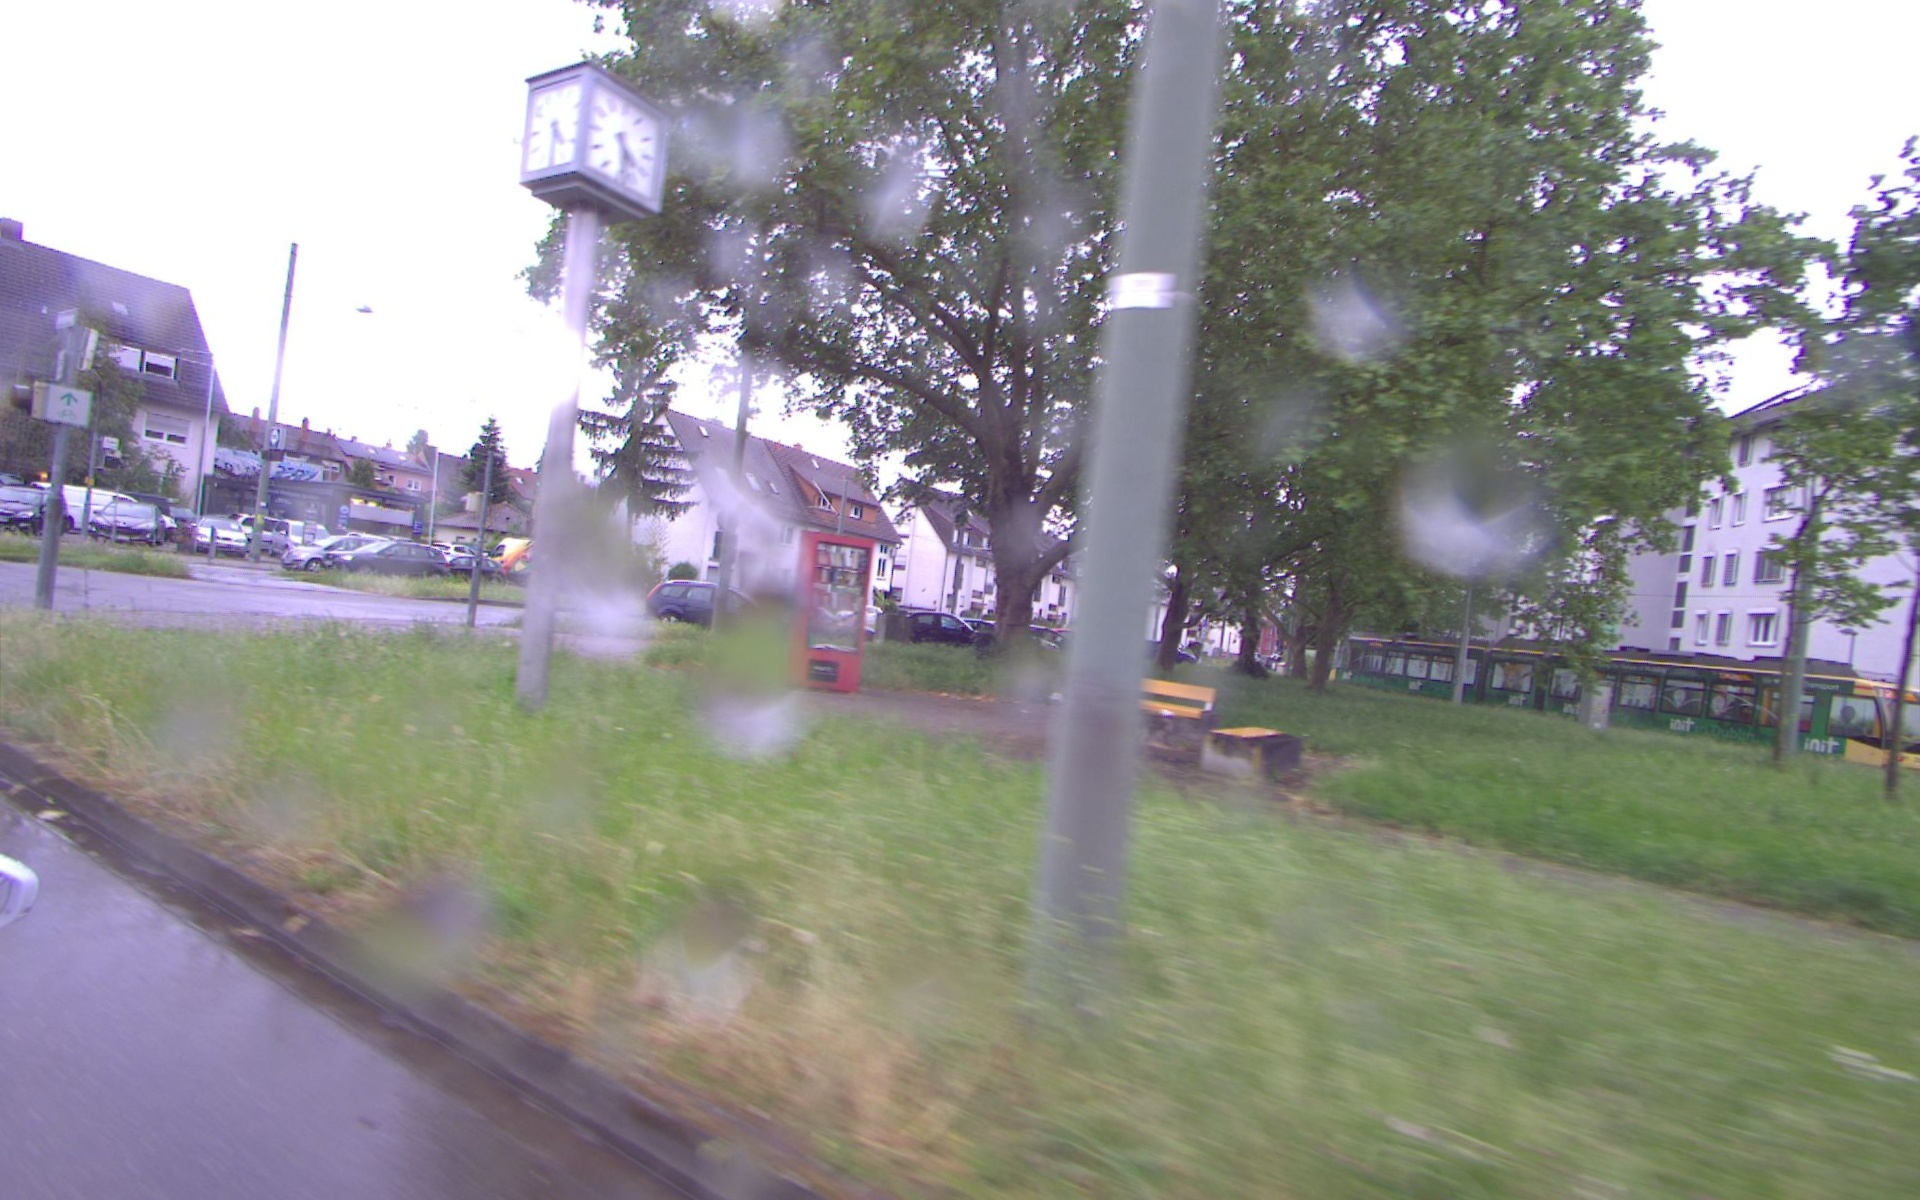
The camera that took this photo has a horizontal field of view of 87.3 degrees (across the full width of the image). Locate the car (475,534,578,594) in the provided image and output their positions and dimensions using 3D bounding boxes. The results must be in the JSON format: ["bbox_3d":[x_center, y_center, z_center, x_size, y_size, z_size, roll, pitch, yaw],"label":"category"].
[{"bbox_3d":[-22.733,-1.880,52.688,5.063,2.433,2.150,7,-2,31],"label":"car"}]

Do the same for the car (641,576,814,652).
[{"bbox_3d":[-6.215,0.380,27.202,4.099,1.494,1.804,7,0,1],"label":"car"}]

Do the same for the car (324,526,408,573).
[{"bbox_3d":[-26.301,-2.237,44.507,3.560,1.591,1.720,7,-2,35],"label":"car"}]

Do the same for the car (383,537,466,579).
[{"bbox_3d":[-24.874,-1.958,46.708,3.781,1.412,1.720,7,-3,35],"label":"car"}]

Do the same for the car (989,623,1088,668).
[{"bbox_3d":[3.350,1.941,43.593,4.046,1.498,1.866,6,-1,-1],"label":"car"}]

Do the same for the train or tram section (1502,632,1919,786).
[{"bbox_3d":[25.973,3.405,35.636,2.672,3.631,14.706,8,-1,-12],"label":"train or tram section"}]

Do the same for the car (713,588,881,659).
[{"bbox_3d":[-4.767,0.688,29.809,4.463,1.494,1.805,7,0,5],"label":"car"}]

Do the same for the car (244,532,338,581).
[{"bbox_3d":[-27.925,-1.816,41.944,3.809,1.598,1.803,7,0,33],"label":"car"}]

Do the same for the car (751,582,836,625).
[{"bbox_3d":[-8.877,0.201,53.905,1.965,1.623,4.572,7,-3,28],"label":"car"}]

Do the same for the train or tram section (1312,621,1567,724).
[{"bbox_3d":[22.961,3.257,50.041,2.672,3.631,14.706,8,-1,-12],"label":"train or tram section"}]

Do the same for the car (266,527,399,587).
[{"bbox_3d":[-22.921,-1.537,36.886,1.693,1.521,3.642,7,-3,30],"label":"car"}]

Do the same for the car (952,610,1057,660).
[{"bbox_3d":[1.759,1.429,40.702,3.929,1.571,1.961,6,-2,-5],"label":"car"}]

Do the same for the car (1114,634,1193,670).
[{"bbox_3d":[10.887,2.935,56.818,3.926,1.502,1.999,7,1,0],"label":"car"}]

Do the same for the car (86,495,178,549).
[{"bbox_3d":[-30.294,-2.799,36.944,1.815,1.521,4.028,9,-3,-30],"label":"car"}]

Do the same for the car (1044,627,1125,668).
[{"bbox_3d":[5.688,2.155,46.289,3.530,1.498,1.638,5,-1,5],"label":"car"}]

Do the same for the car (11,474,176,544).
[{"bbox_3d":[-33.972,-3.529,39.555,1.968,2.038,4.437,6,-1,33],"label":"car"}]

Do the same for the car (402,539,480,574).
[{"bbox_3d":[-31.125,-2.569,60.491,1.759,1.599,4.451,6,-1,10],"label":"car"}]

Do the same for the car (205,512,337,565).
[{"bbox_3d":[-30.601,-2.707,44.823,1.732,1.708,4.437,6,-1,33],"label":"car"}]

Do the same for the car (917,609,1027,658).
[{"bbox_3d":[0.414,1.272,38.242,3.928,1.518,1.824,4,-2,-6],"label":"car"}]

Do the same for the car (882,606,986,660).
[{"bbox_3d":[-0.948,1.175,35.456,3.453,1.523,1.754,6,-2,-5],"label":"car"}]

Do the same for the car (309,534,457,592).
[{"bbox_3d":[-20.251,-1.269,35.462,1.966,1.494,3.994,7,-1,29],"label":"car"}]

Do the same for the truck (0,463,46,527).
[{"bbox_3d":[-39.026,-4.359,38.256,6.056,2.299,1.978,7,-1,-40],"label":"truck"}]

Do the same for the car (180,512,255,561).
[{"bbox_3d":[-28.850,-2.491,39.036,1.823,1.521,4.010,10,-3,-42],"label":"car"}]

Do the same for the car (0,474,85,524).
[{"bbox_3d":[-40.216,-4.406,42.531,1.968,1.708,4.437,6,-1,33],"label":"car"}]

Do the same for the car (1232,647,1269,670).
[{"bbox_3d":[24.341,4.940,84.192,1.928,1.571,3.996,5,-3,30],"label":"car"}]

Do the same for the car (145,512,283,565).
[{"bbox_3d":[-33.158,-2.724,44.822,1.968,1.708,4.437,6,-1,33],"label":"car"}]

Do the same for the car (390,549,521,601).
[{"bbox_3d":[-20.404,-0.996,40.886,1.695,1.353,4.383,7,-3,34],"label":"car"}]

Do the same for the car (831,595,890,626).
[{"bbox_3d":[-6.337,0.685,64.378,1.579,1.439,3.941,7,-3,31],"label":"car"}]

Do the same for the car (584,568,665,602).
[{"bbox_3d":[-18.898,-0.818,56.814,1.966,1.586,3.883,7,3,30],"label":"car"}]

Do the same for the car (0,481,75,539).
[{"bbox_3d":[-32.031,-3.086,34.077,1.975,1.738,3.974,7,0,-26],"label":"car"}]
